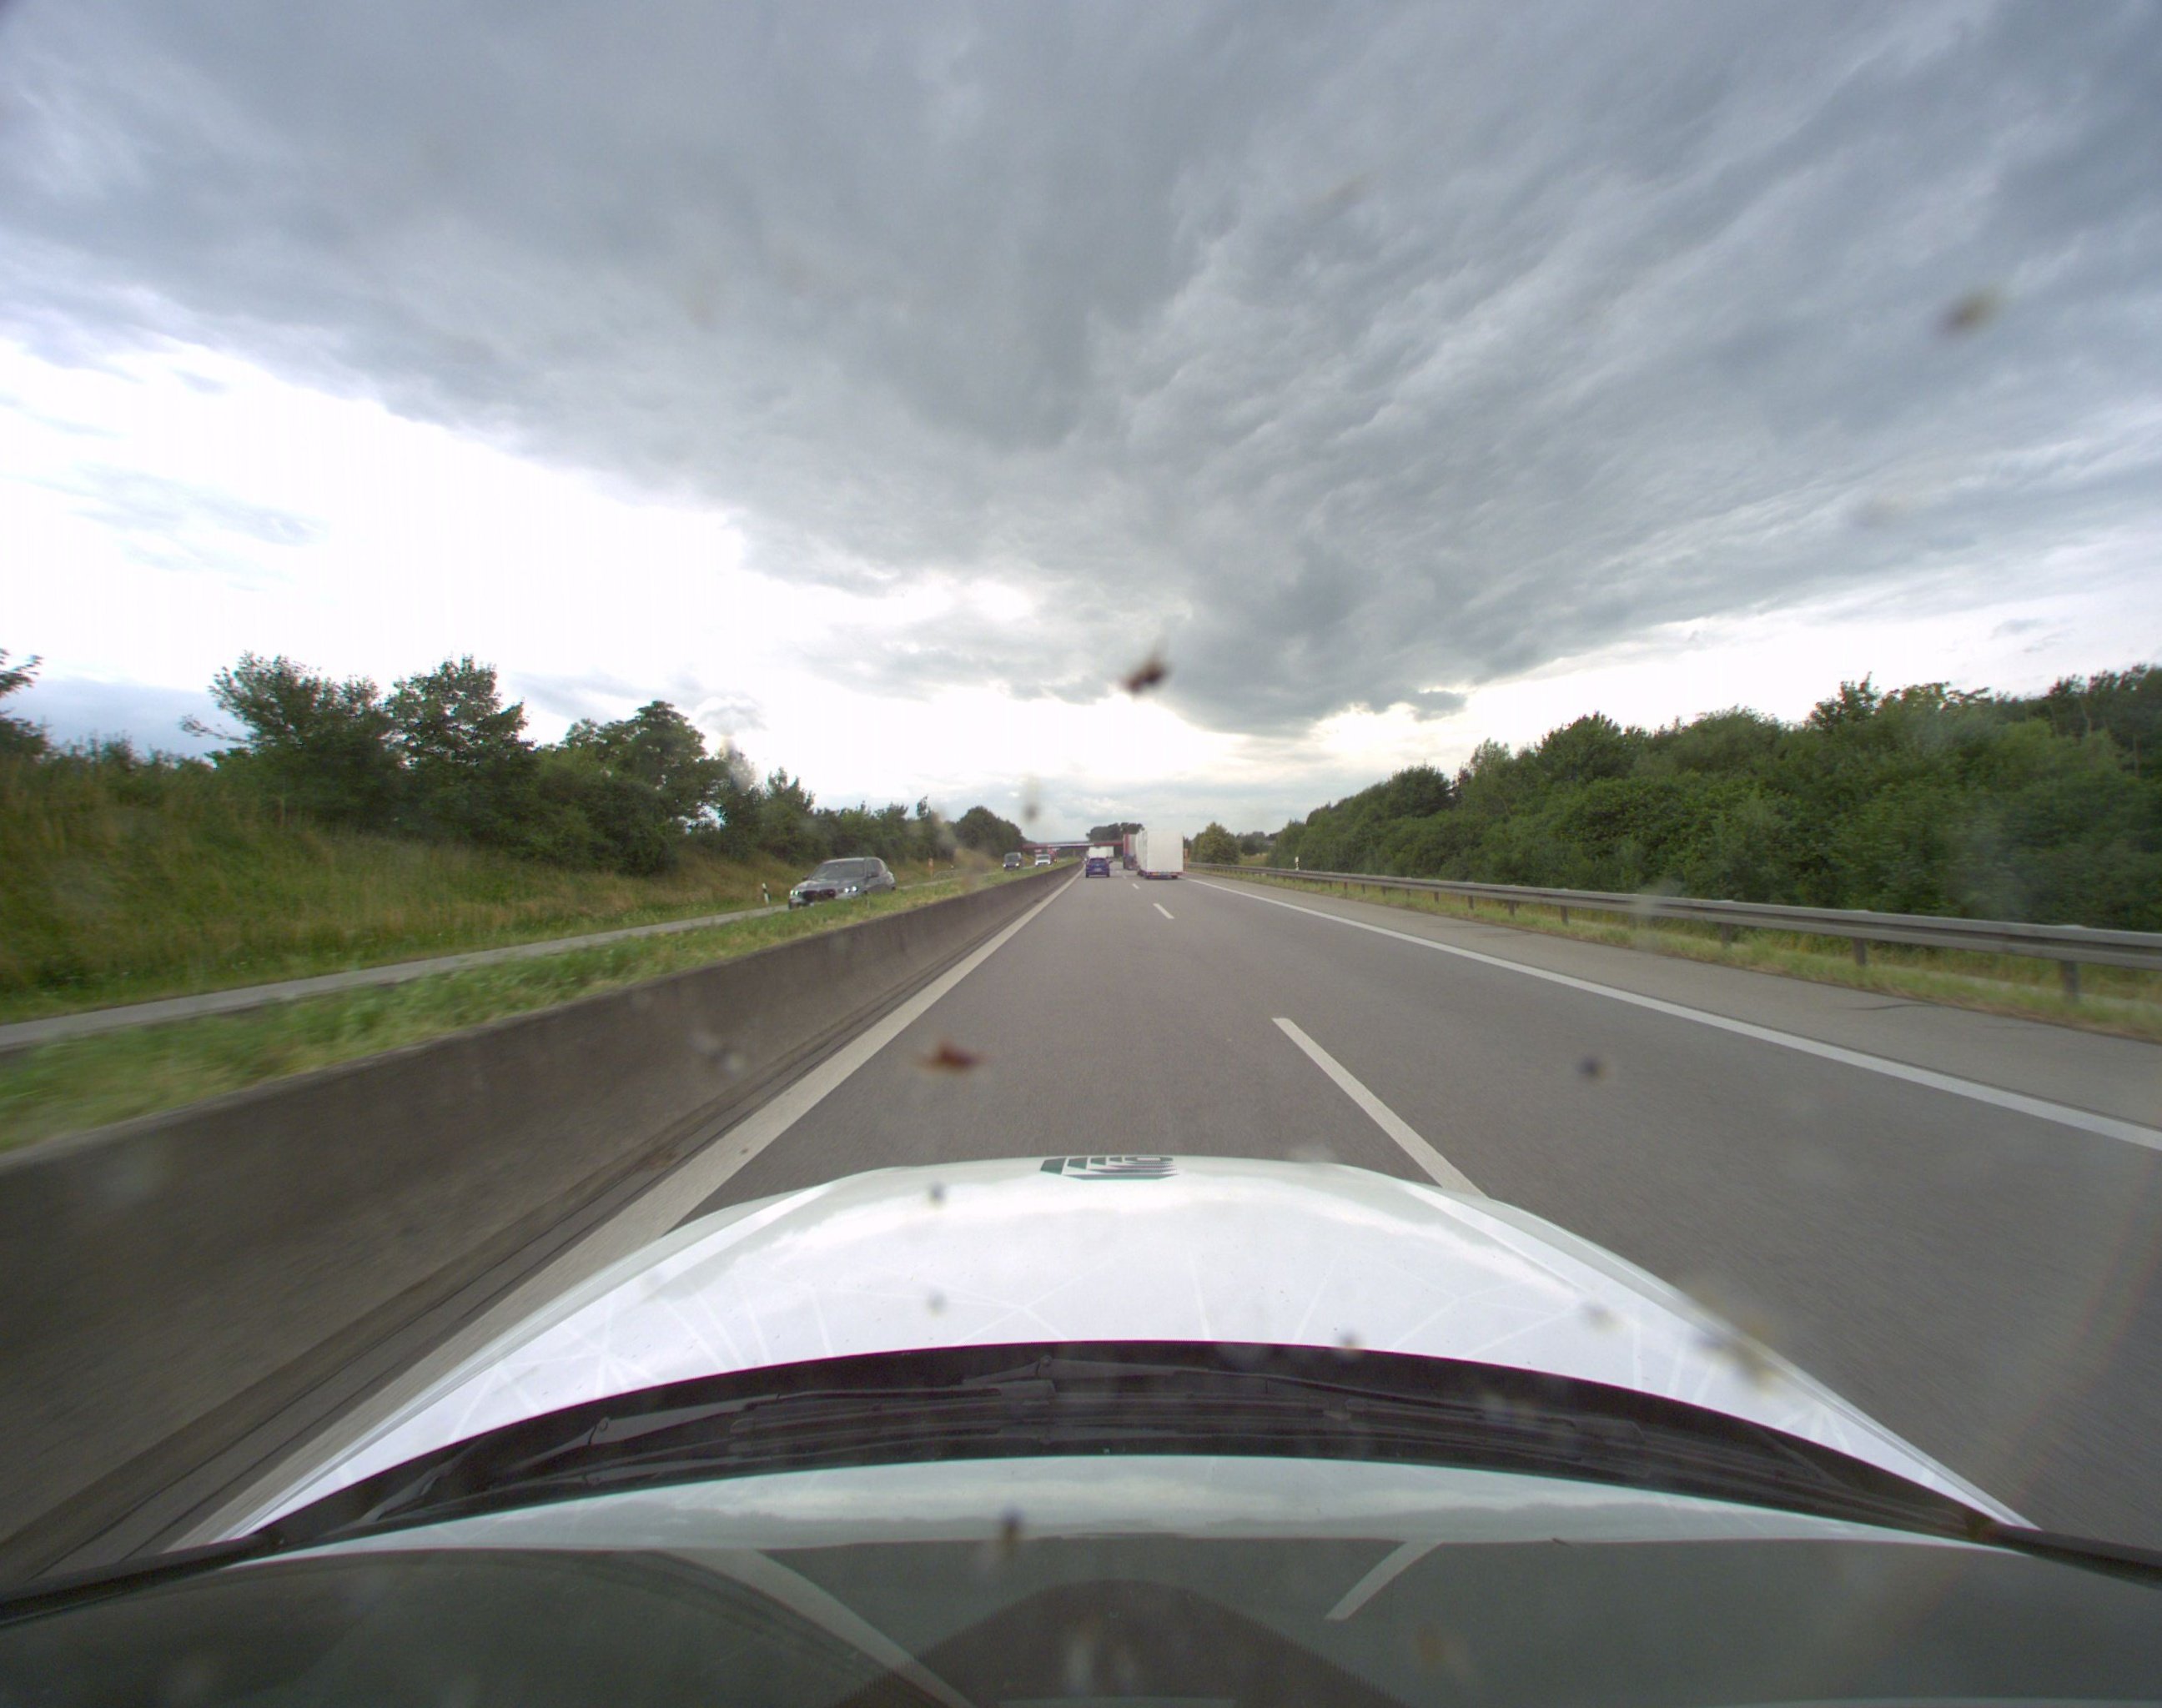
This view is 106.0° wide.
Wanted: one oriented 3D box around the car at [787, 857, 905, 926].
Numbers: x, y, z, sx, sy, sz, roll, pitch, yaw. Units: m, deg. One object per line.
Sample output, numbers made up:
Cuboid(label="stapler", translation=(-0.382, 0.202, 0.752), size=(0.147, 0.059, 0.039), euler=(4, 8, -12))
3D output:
Cuboid(label="car", translation=(-6.682, 1.002, 23.759), size=(1.912, 1.694, 4.598), euler=(-3, 0, 2))

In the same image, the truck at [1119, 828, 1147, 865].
Cuboid(label="truck", translation=(5.919, -0.818, 93.488), size=(2.666, 4.045, 5.509), euler=(-2, 0, -1))

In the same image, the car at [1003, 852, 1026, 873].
Cuboid(label="car", translation=(-8.533, 1.073, 105.162), size=(2.162, 2.465, 6.724), euler=(-4, 0, 1))

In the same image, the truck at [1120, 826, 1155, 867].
Cuboid(label="truck", translation=(6.037, -0.798, 88.081), size=(2.665, 4.045, 11.101), euler=(-2, 0, -1))

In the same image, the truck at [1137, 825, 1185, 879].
Cuboid(label="truck", translation=(5.078, -0.100, 52.584), size=(2.407, 3.222, 7.143), euler=(-1, 0, 1))

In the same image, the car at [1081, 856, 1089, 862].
Cuboid(label="car", translation=(1.060, 1.468, 224.684), size=(1.987, 1.684, 3.999), euler=(-1, 0, 0))

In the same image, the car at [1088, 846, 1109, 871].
Cuboid(label="car", translation=(1.876, 0.485, 88.782), size=(2.123, 2.482, 5.838), euler=(-2, 0, 0))

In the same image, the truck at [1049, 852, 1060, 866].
Cuboid(label="truck", translation=(-8.168, 1.410, 251.514), size=(2.698, 4.088, 5.164), euler=(-4, 0, 0))

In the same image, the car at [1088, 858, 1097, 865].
Cuboid(label="car", translation=(2.739, 1.775, 190.668), size=(1.928, 1.643, 4.903), euler=(-2, 0, 0))

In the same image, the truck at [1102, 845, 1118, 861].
Cuboid(label="truck", translation=(7.138, -0.298, 201.101), size=(3.101, 3.689, 9.319), euler=(-4, 0, -1))

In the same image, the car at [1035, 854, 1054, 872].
Cuboid(label="car", translation=(-4.554, 1.097, 101.423), size=(1.972, 2.013, 5.131), euler=(-1, 0, 1))

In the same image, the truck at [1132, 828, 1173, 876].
Cuboid(label="truck", translation=(5.156, -0.104, 59.777), size=(2.421, 3.243, 7.247), euler=(-1, 0, 1))

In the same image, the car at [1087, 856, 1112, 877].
Cuboid(label="car", translation=(1.359, 0.862, 58.219), size=(1.657, 1.407, 3.650), euler=(-1, 0, 2))
